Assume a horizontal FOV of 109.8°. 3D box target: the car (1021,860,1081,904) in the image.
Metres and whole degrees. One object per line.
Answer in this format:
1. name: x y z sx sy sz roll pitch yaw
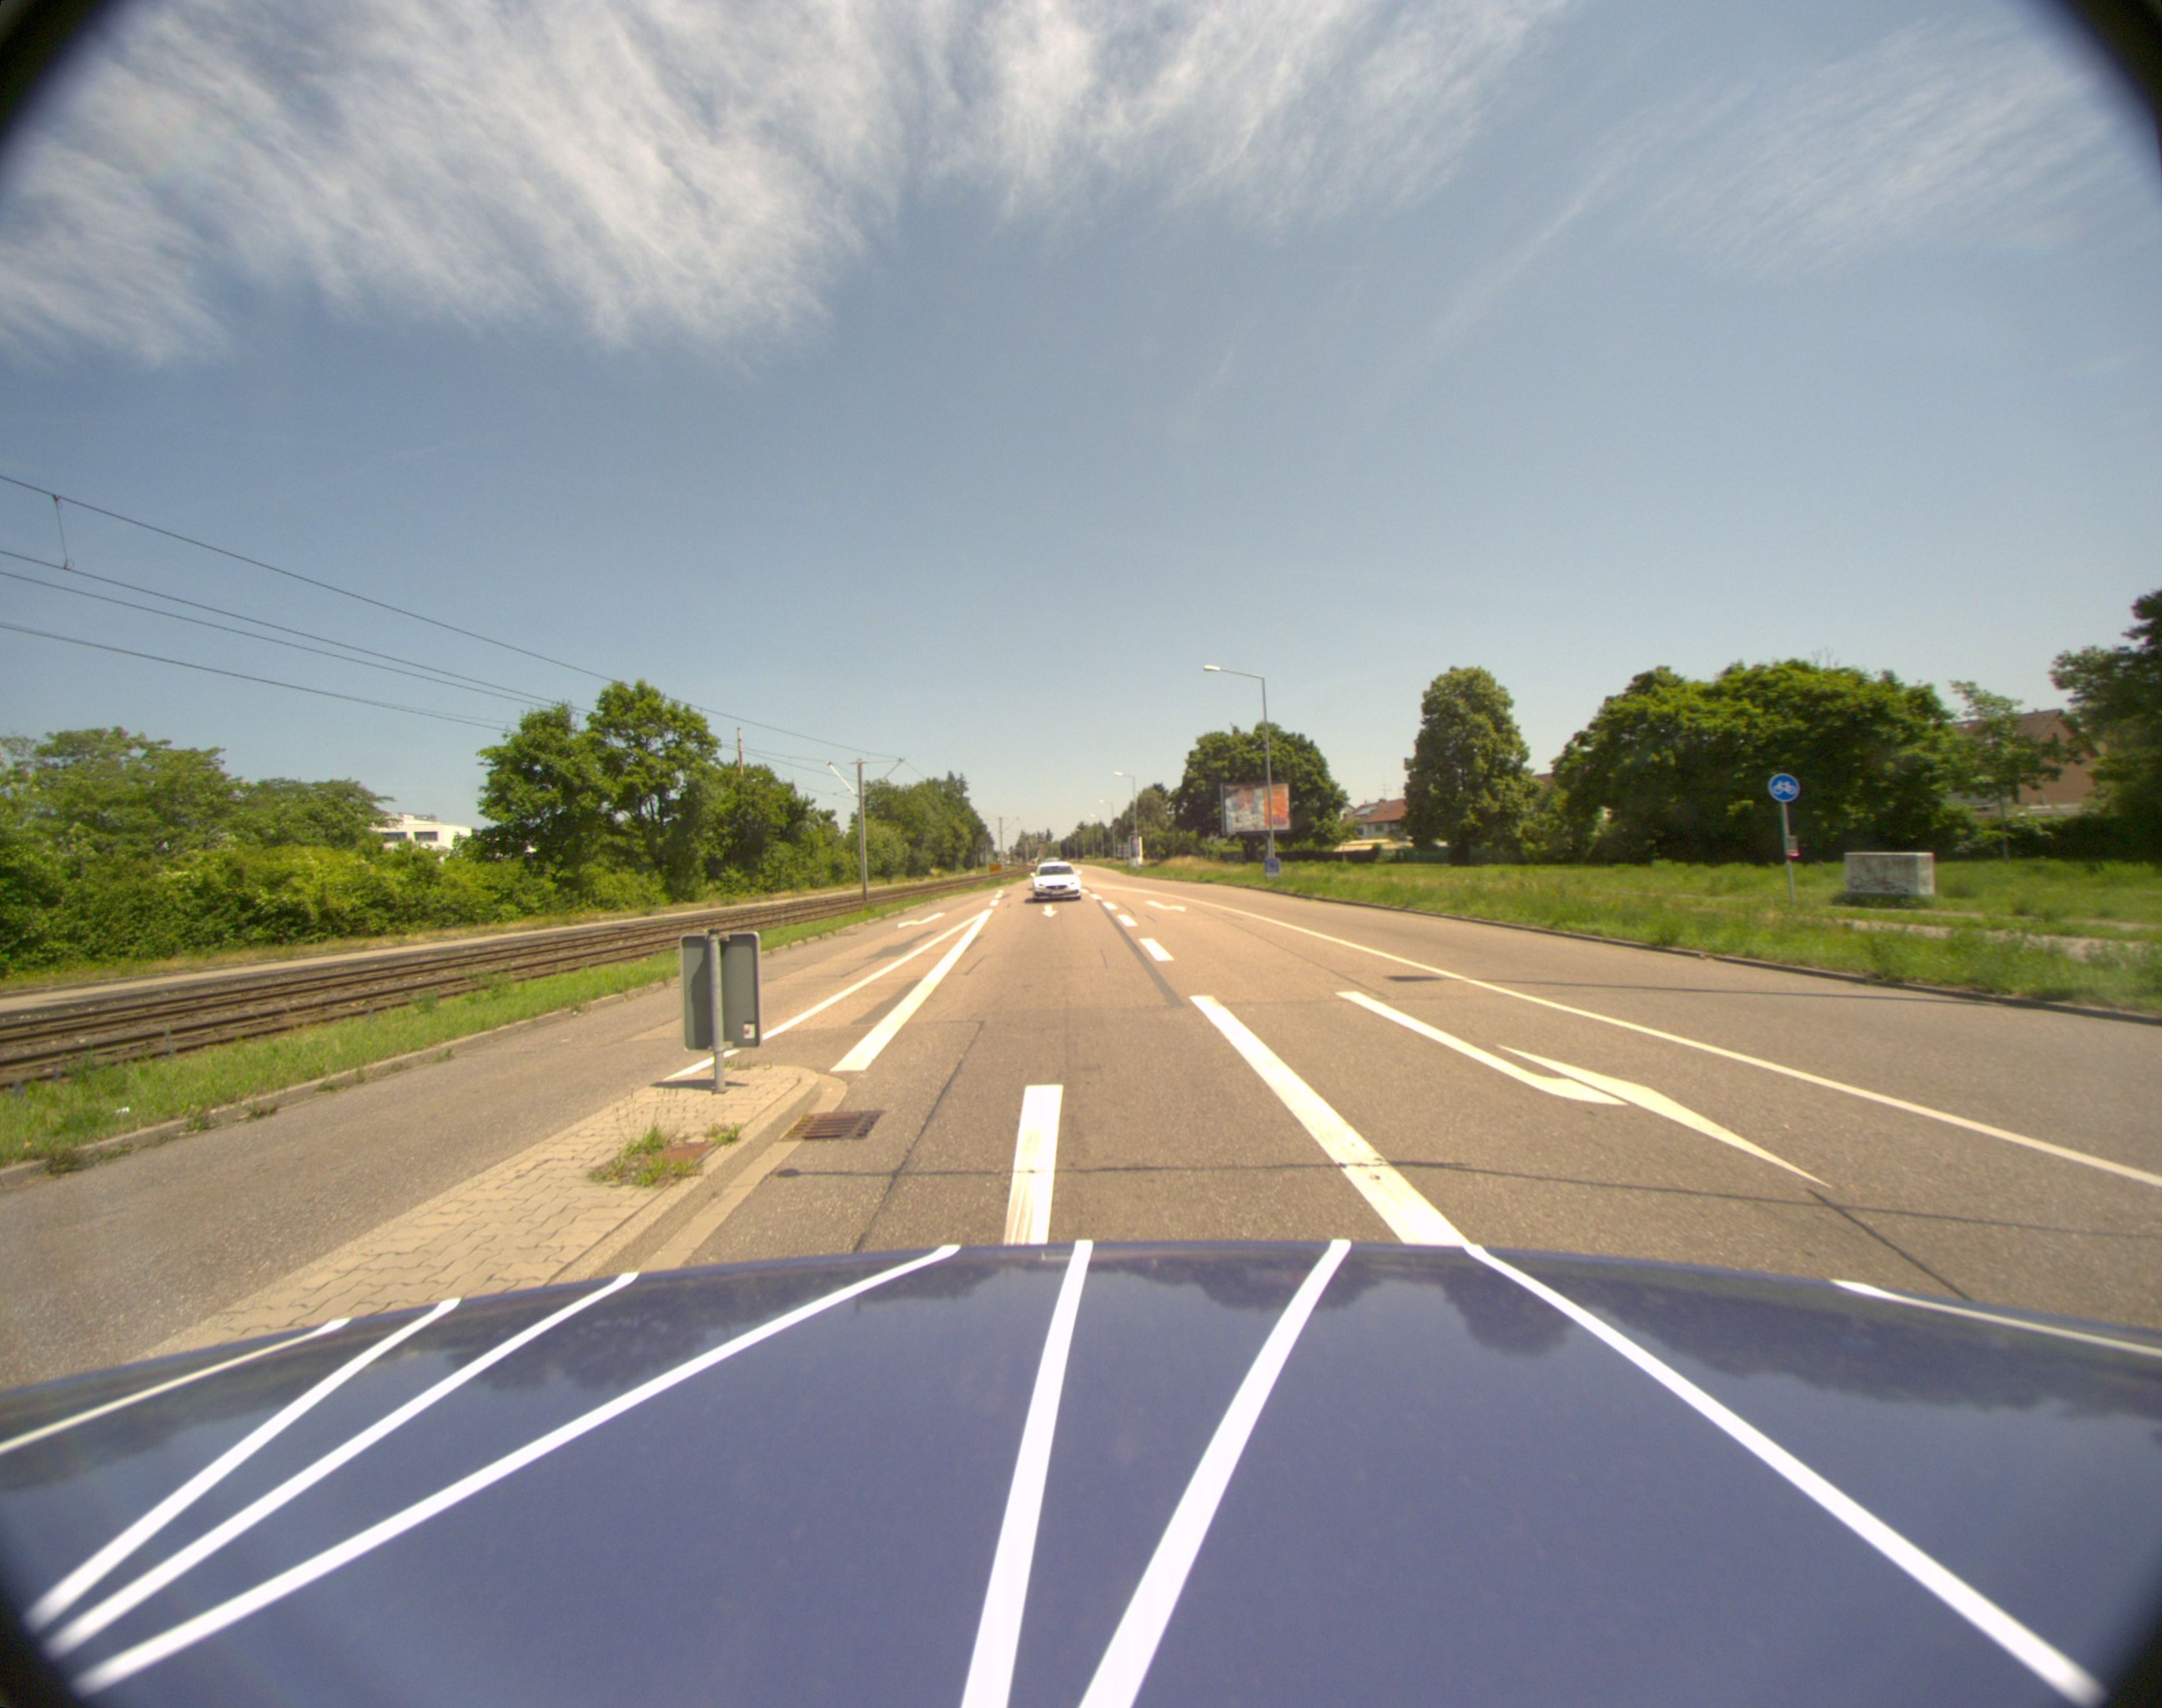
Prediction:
1. car: -1.082 1.019 29.545 1.954 1.467 4.362 -3 0 2

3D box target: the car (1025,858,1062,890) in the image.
1. car: -2.061 1.067 42.980 1.780 1.628 4.000 -2 0 1
